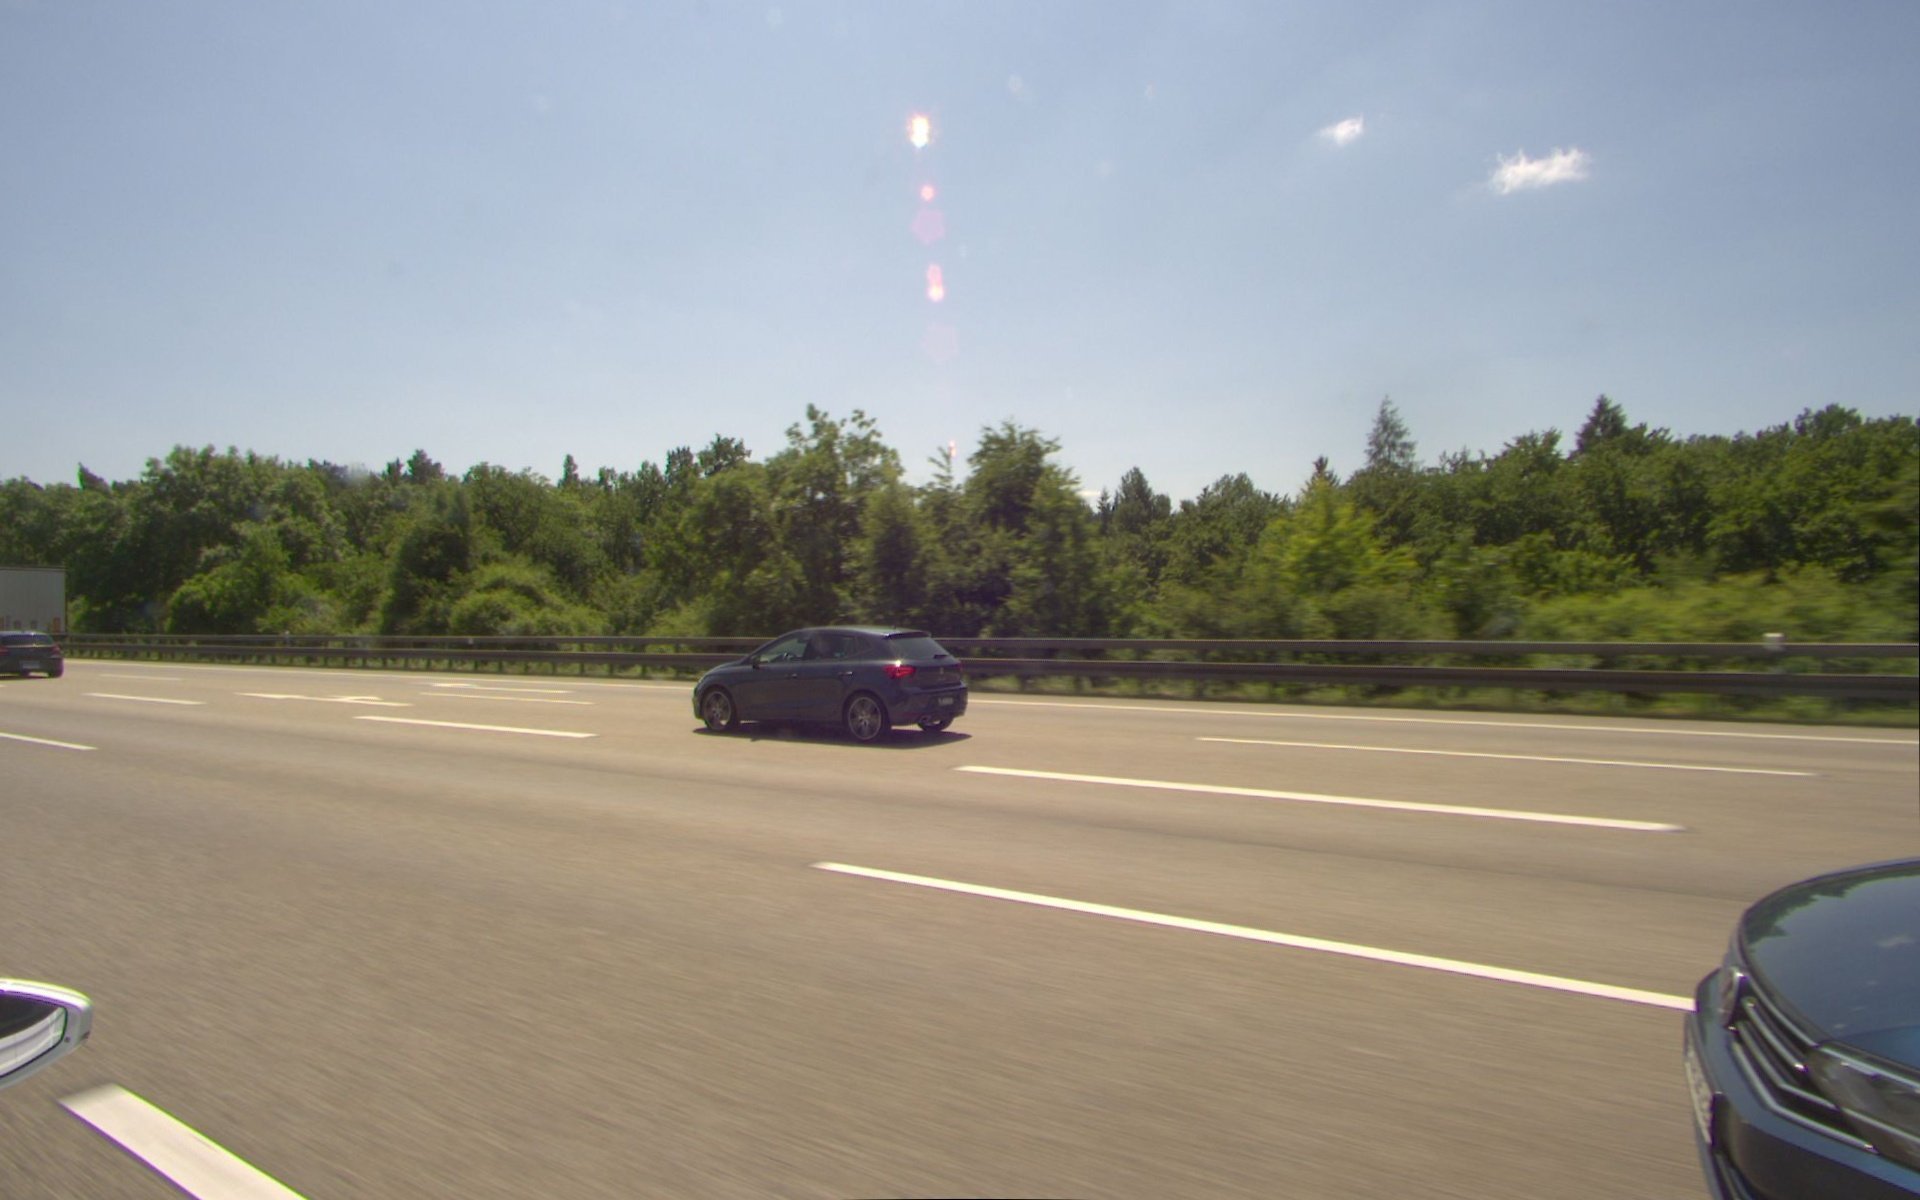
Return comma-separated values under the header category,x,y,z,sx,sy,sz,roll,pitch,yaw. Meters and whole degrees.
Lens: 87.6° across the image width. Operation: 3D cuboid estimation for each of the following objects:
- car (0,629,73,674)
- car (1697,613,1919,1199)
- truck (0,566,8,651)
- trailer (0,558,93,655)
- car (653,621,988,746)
category,x,y,z,sx,sy,sz,roll,pitch,yaw
car,-28.885,1.532,30.543,4.229,1.290,1.667,-1,-1,32
car,3.774,0.734,0.880,4.890,1.466,1.726,-1,0,32
truck,-50.184,0.420,49.459,5.901,4.160,3.249,0,-1,32
trailer,-44.429,0.356,45.805,13.689,3.981,3.282,0,-1,32
car,-1.989,1.024,13.679,4.568,1.457,1.640,0,-1,32
